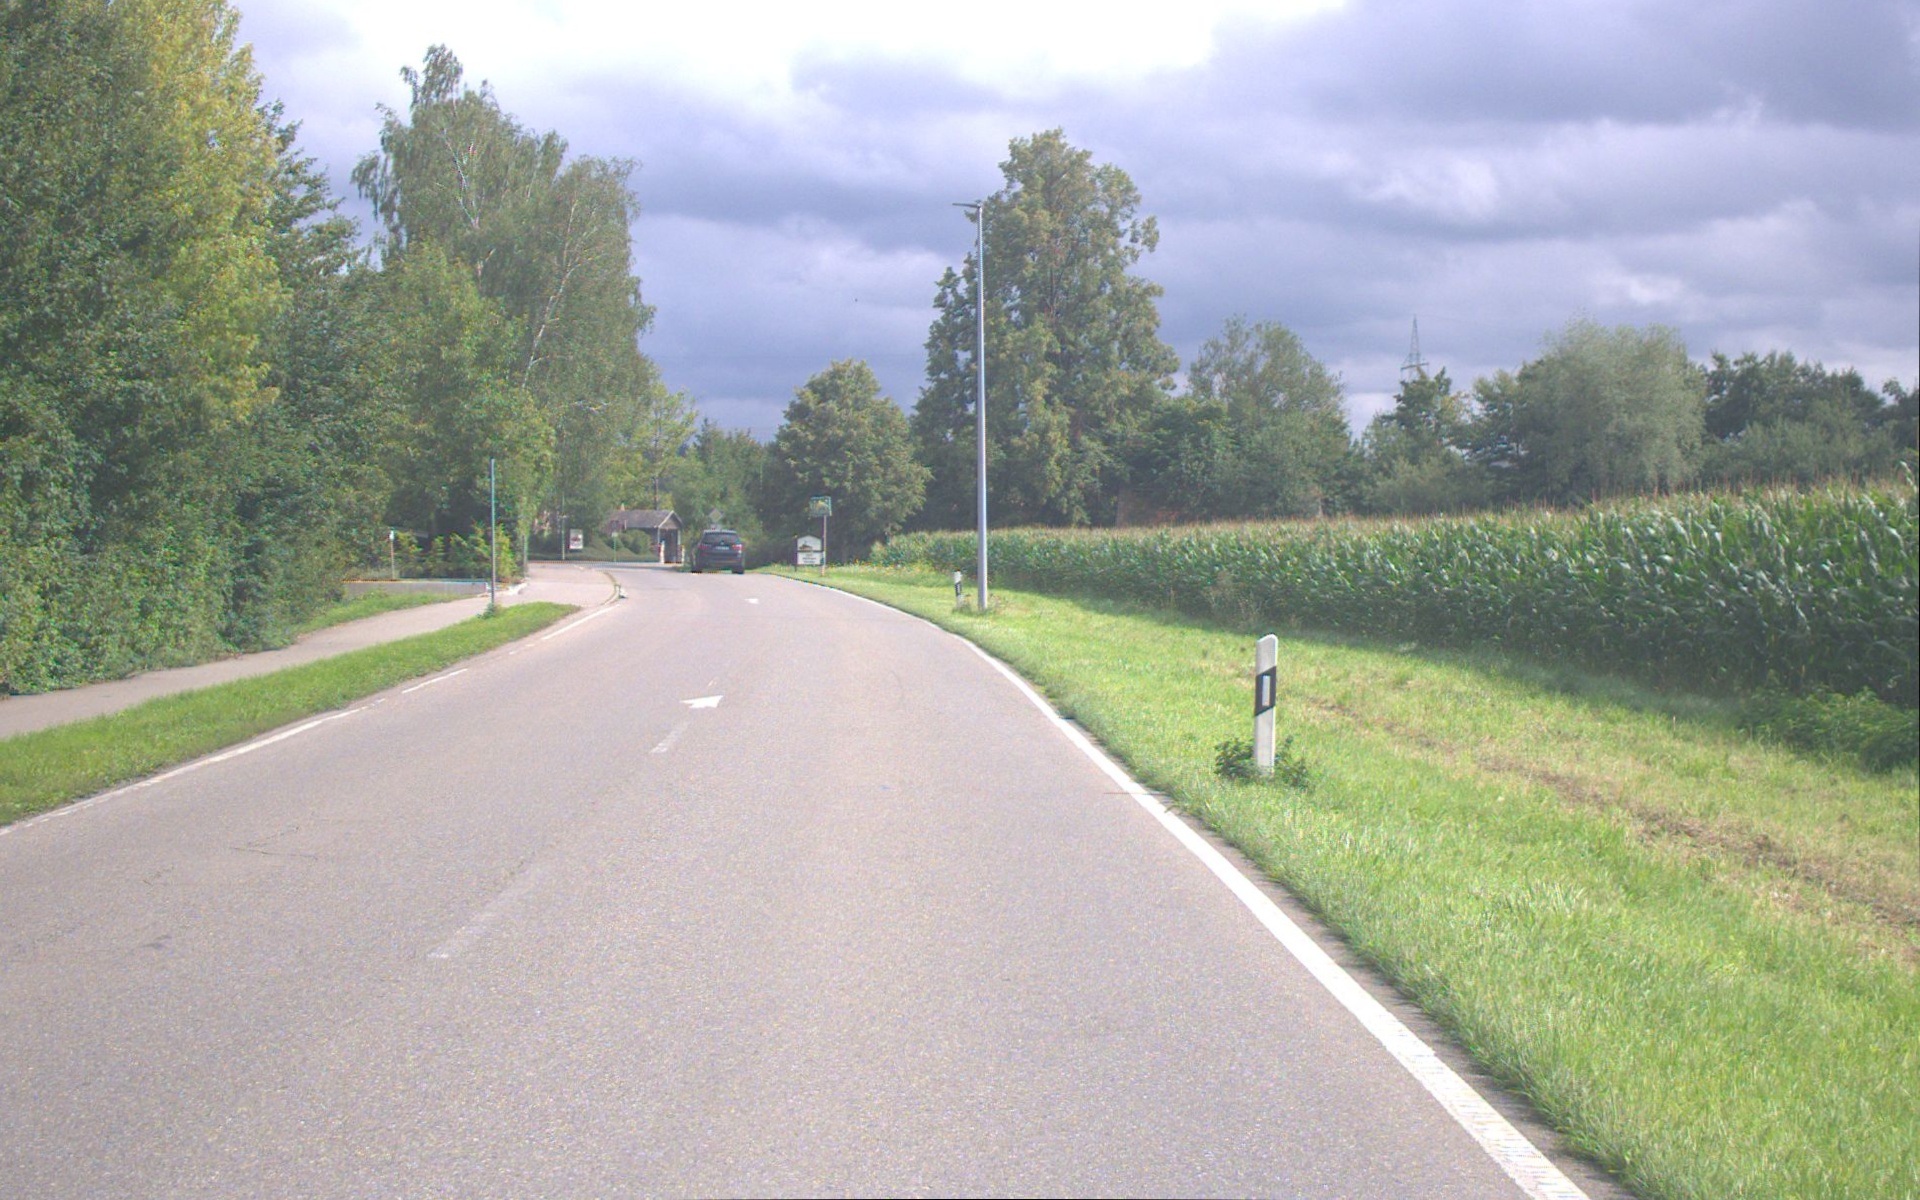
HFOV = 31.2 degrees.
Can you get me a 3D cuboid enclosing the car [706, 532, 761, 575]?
[{"bbox_3d":[-8.734,-1.786,132.225,1.993,1.579,4.001,2,0,-5],"label":"car"}]
